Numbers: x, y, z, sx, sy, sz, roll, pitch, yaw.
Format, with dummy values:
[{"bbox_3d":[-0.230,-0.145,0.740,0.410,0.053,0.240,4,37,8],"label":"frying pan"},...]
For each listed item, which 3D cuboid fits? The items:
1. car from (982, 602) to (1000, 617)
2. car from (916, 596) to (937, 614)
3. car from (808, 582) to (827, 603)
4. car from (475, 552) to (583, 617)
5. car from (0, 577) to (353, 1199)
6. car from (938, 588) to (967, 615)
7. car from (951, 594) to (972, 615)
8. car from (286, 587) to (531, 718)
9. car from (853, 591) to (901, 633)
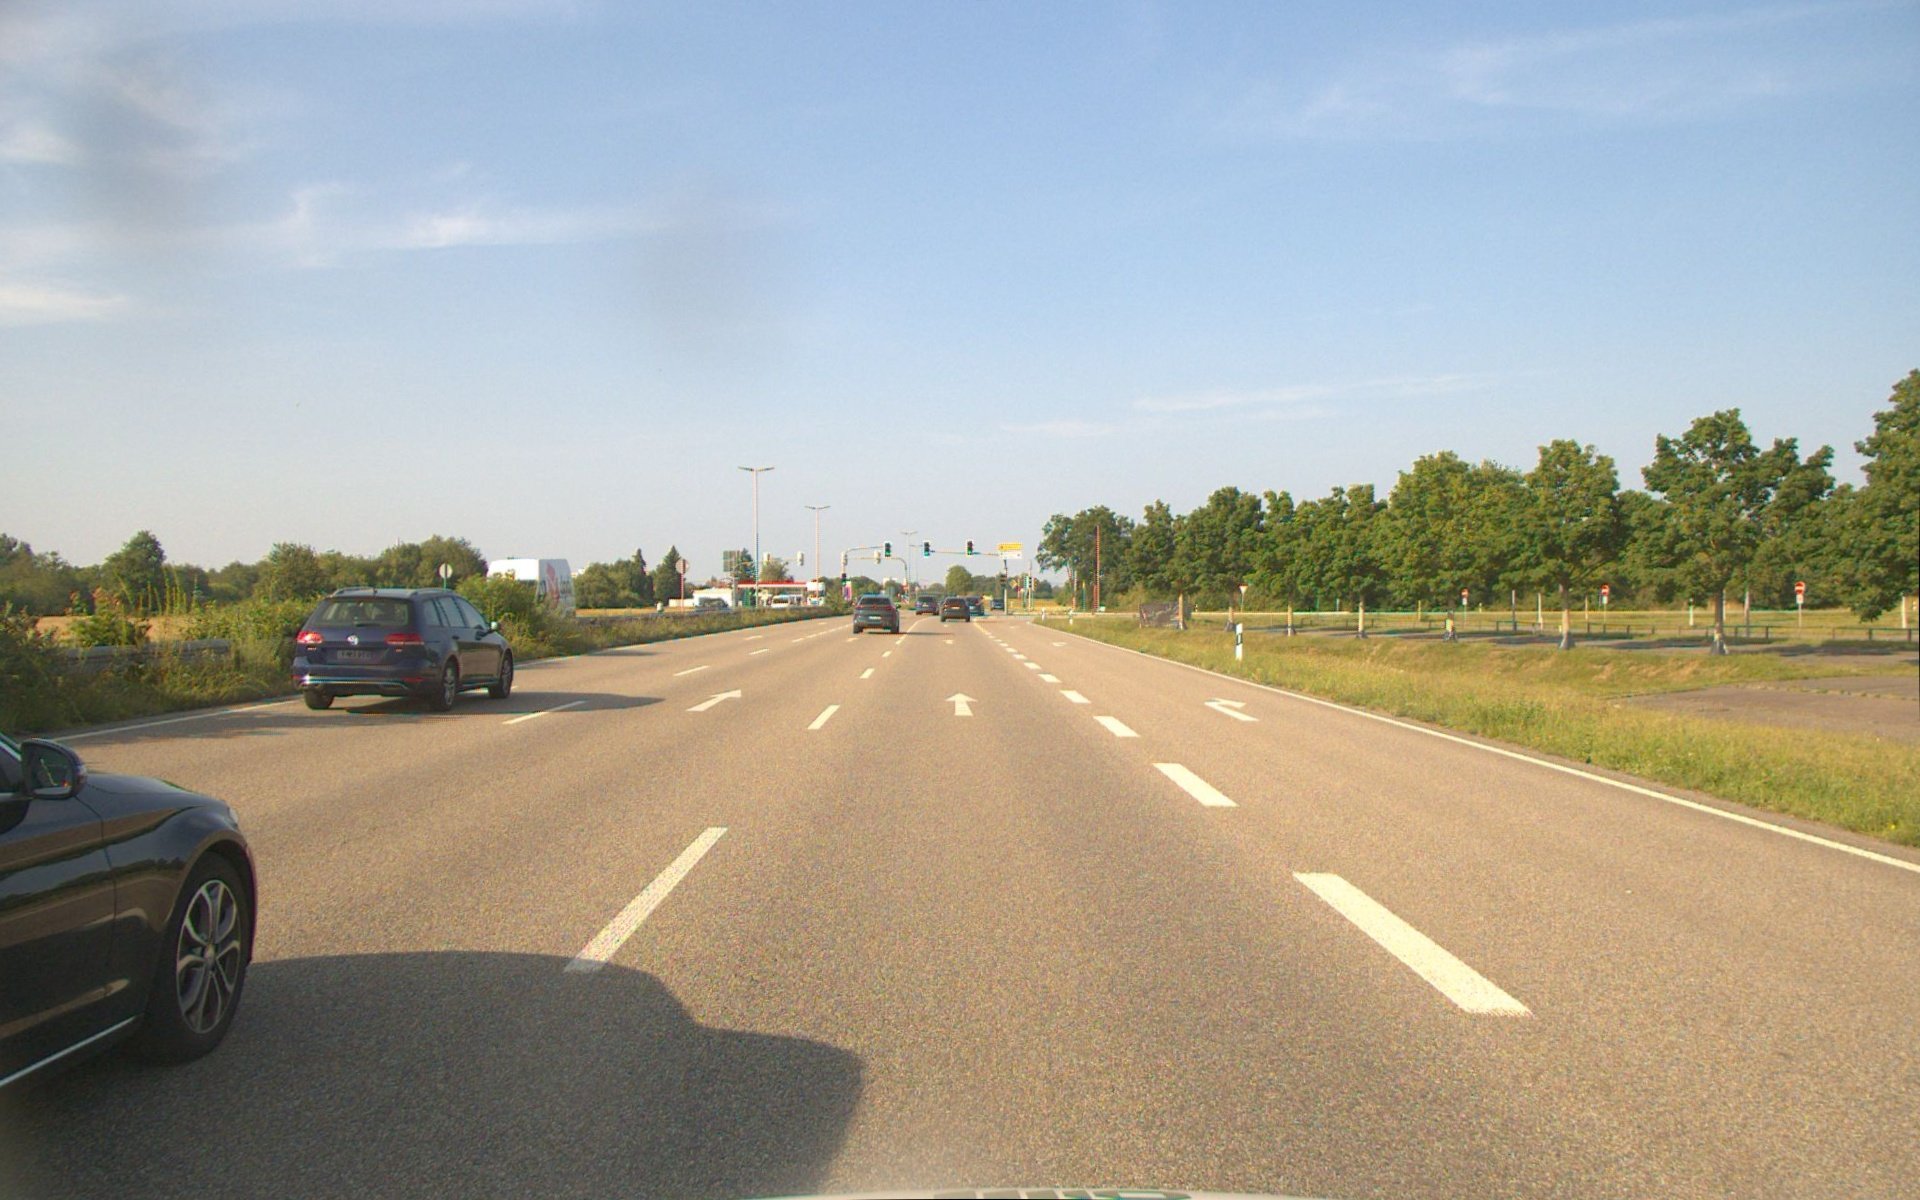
[{"bbox_3d":[3.528,1.126,188.175,1.907,1.665,3.445,1,-1,-2],"label":"car"},{"bbox_3d":[-2.874,0.432,142.585,1.776,1.489,4.400,0,0,-1],"label":"car"},{"bbox_3d":[-19.845,-1.069,230.856,2.225,2.902,5.248,0,0,-1],"label":"car"},{"bbox_3d":[-14.602,-0.473,56.442,2.118,2.071,6.321,1,-1,-1],"label":"car"},{"bbox_3d":[-3.035,0.695,3.702,1.540,1.497,5.022,0,0,-1],"label":"car"},{"bbox_3d":[-0.517,0.110,110.220,1.893,1.709,4.400,2,0,-1],"label":"car"},{"bbox_3d":[0.125,0.376,142.918,1.713,1.645,3.757,2,0,-1],"label":"car"},{"bbox_3d":[-6.928,0.586,21.303,1.613,1.497,4.775,0,0,-1],"label":"car"},{"bbox_3d":[-3.455,0.465,69.565,1.808,1.640,4.400,2,0,-1],"label":"car"}]
